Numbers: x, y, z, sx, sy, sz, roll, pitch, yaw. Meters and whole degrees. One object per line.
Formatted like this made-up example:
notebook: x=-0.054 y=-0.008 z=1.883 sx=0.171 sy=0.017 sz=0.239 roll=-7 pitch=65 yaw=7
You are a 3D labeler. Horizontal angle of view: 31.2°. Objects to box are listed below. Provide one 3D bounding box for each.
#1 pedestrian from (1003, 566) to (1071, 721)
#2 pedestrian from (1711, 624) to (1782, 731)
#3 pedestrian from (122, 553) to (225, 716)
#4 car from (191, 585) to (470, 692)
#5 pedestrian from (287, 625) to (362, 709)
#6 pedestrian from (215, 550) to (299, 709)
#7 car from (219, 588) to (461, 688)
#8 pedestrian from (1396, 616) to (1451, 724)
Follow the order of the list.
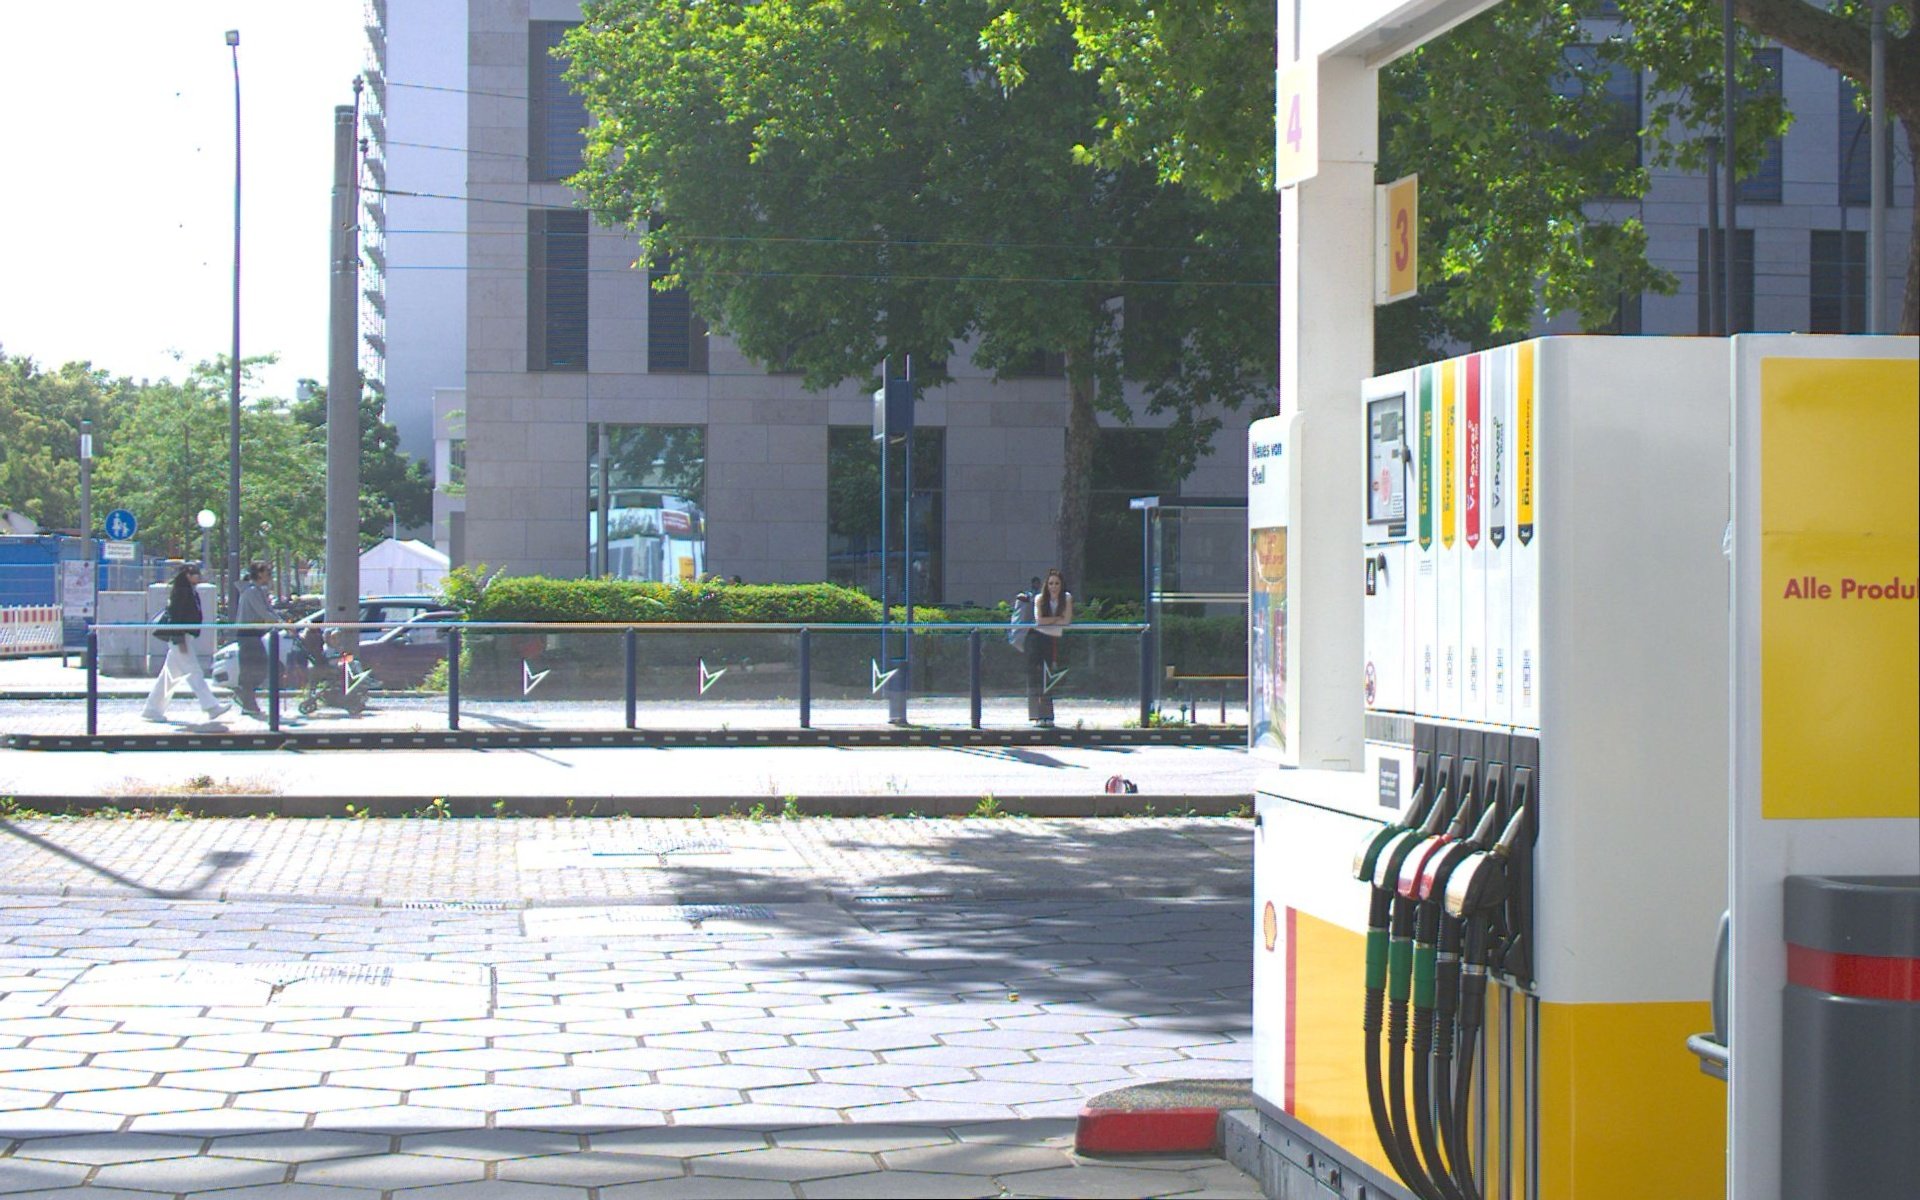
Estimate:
pedestrian: x=0.806 y=0.450 z=36.053 sx=0.584 sy=1.586 sz=0.670 roll=0 pitch=2 yaw=-8
pedestrian: x=8.531 y=0.836 z=37.298 sx=0.628 sy=1.134 sz=0.524 roll=0 pitch=0 yaw=-1
pedestrian: x=-8.170 y=0.358 z=35.728 sx=0.932 sy=1.677 sz=0.503 roll=0 pitch=0 yaw=1
car: x=-9.329 y=0.564 z=50.856 sx=3.986 sy=1.547 sz=1.704 roll=0 pitch=0 yaw=-13
pedestrian: x=-6.766 y=0.710 z=36.636 sx=0.690 sy=0.877 sz=0.503 roll=0 pitch=0 yaw=1
pedestrian: x=-7.495 y=0.312 z=36.658 sx=0.777 sy=1.677 sz=0.503 roll=0 pitch=0 yaw=1
car: x=-9.831 y=0.595 z=54.448 sx=3.681 sy=1.547 sz=1.592 roll=0 pitch=0 yaw=-13
pedestrian: x=4.950 y=0.744 z=36.752 sx=0.499 sy=1.134 sz=0.524 roll=1 pitch=0 yaw=-1
